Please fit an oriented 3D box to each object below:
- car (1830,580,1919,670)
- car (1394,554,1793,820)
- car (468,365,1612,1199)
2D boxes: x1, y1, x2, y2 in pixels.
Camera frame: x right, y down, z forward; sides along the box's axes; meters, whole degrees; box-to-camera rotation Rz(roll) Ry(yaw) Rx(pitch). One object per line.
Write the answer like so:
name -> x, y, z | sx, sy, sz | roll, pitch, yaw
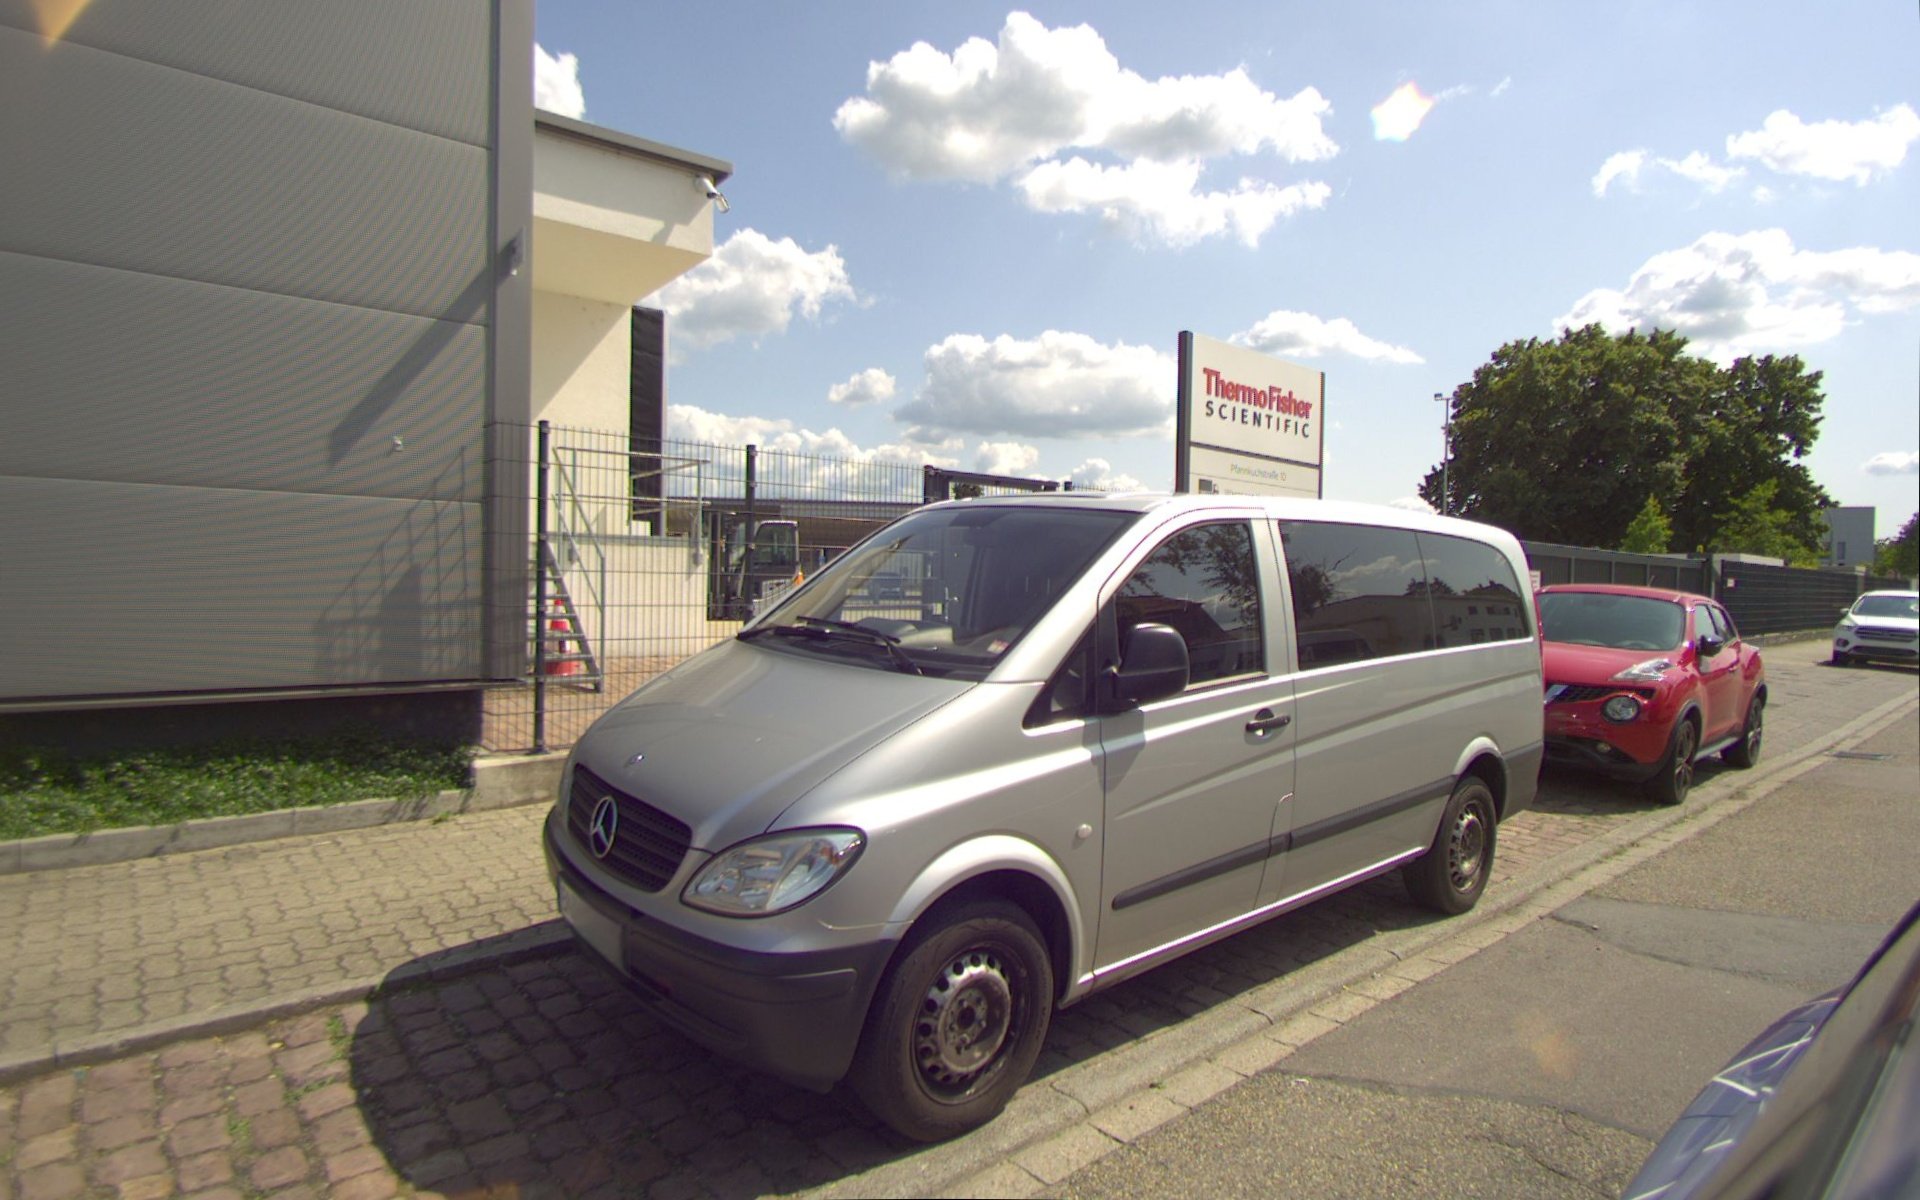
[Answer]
car -> 20.415, 0.506, 21.701 | 4.597, 1.714, 1.940 | 0, 4, -41
car -> 5.508, 0.529, 8.594 | 4.022, 1.643, 1.708 | -1, 6, -42
car -> 0.803, 0.421, 4.524 | 5.055, 1.926, 2.059 | 0, 3, -40
